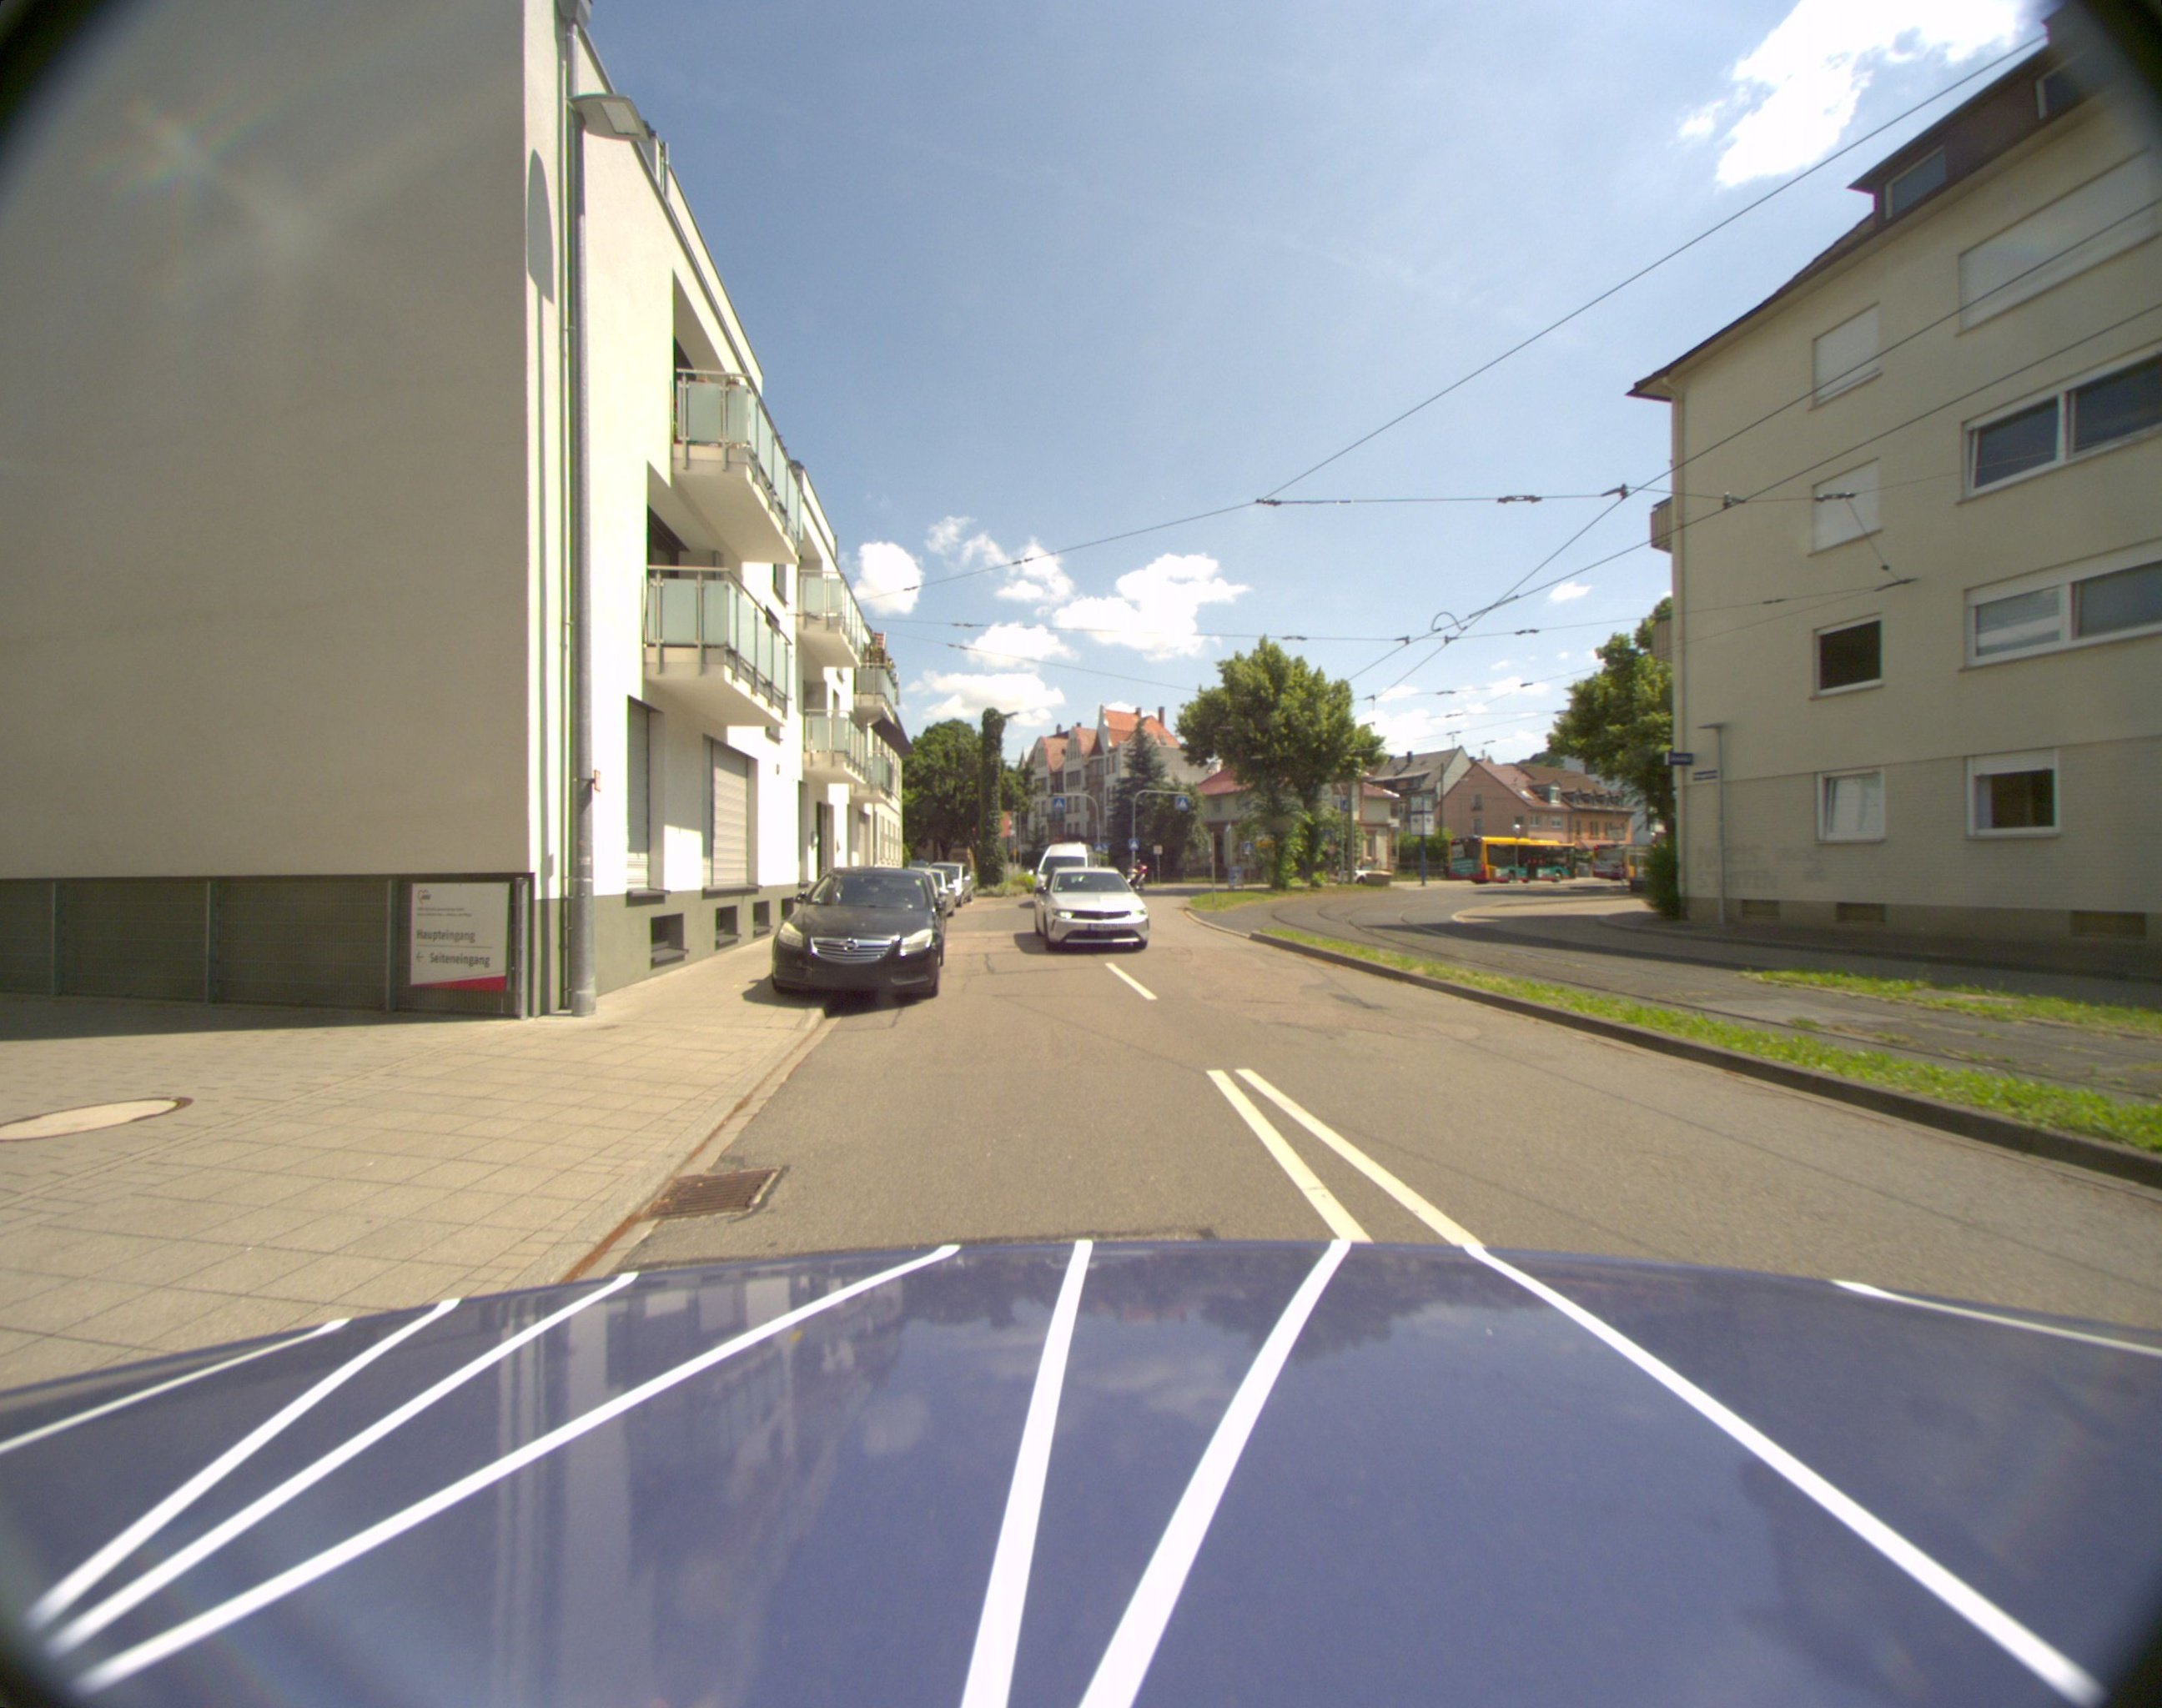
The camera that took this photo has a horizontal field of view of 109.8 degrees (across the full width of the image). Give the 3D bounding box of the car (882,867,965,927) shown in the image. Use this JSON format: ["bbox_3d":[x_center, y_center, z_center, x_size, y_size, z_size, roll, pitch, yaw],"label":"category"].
[{"bbox_3d":[-4.416,1.159,21.878,1.732,1.424,4.041,3,0,-4],"label":"car"}]

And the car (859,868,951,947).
[{"bbox_3d":[-3.797,1.102,16.913,1.598,1.424,3.704,3,0,-8],"label":"car"}]

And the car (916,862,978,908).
[{"bbox_3d":[-5.122,1.147,29.502,1.731,1.601,3.800,2,0,-1],"label":"car"}]

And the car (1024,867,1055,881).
[{"bbox_3d":[-4.127,1.982,75.450,1.821,1.318,3.993,0,-1,-23],"label":"car"}]

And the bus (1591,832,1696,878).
[{"bbox_3d":[47.293,0.094,63.686,12.229,3.585,2.691,0,-1,-32],"label":"bus"}]

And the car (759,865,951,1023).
[{"bbox_3d":[-2.666,0.965,9.990,1.806,1.500,4.543,3,0,-9],"label":"car"}]

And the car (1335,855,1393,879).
[{"bbox_3d":[18.406,0.834,49.421,3.754,1.455,1.774,1,-1,-36],"label":"car"}]

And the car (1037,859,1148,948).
[{"bbox_3d":[0.078,0.853,15.024,1.802,1.457,4.169,0,0,-5],"label":"car"}]

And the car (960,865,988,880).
[{"bbox_3d":[-13.322,2.280,94.843,1.779,1.604,3.865,6,-3,-35],"label":"car"}]

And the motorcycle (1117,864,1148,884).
[{"bbox_3d":[2.689,1.031,39.615,1.437,1.051,0.668,0,0,-21],"label":"motorcycle"}]

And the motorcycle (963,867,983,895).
[{"bbox_3d":[-5.327,1.310,37.580,0.802,1.344,2.337,-1,0,-3],"label":"motorcycle"}]

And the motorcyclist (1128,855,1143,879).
[{"bbox_3d":[2.848,0.692,39.638,0.556,1.235,0.540,-1,0,-22],"label":"motorcyclist"}]

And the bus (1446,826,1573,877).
[{"bbox_3d":[30.020,-0.088,52.971,10.877,3.277,2.702,0,-1,-31],"label":"bus"}]

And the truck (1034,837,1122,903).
[{"bbox_3d":[0.024,0.567,29.855,2.018,2.236,5.413,-4,0,14],"label":"truck"}]
